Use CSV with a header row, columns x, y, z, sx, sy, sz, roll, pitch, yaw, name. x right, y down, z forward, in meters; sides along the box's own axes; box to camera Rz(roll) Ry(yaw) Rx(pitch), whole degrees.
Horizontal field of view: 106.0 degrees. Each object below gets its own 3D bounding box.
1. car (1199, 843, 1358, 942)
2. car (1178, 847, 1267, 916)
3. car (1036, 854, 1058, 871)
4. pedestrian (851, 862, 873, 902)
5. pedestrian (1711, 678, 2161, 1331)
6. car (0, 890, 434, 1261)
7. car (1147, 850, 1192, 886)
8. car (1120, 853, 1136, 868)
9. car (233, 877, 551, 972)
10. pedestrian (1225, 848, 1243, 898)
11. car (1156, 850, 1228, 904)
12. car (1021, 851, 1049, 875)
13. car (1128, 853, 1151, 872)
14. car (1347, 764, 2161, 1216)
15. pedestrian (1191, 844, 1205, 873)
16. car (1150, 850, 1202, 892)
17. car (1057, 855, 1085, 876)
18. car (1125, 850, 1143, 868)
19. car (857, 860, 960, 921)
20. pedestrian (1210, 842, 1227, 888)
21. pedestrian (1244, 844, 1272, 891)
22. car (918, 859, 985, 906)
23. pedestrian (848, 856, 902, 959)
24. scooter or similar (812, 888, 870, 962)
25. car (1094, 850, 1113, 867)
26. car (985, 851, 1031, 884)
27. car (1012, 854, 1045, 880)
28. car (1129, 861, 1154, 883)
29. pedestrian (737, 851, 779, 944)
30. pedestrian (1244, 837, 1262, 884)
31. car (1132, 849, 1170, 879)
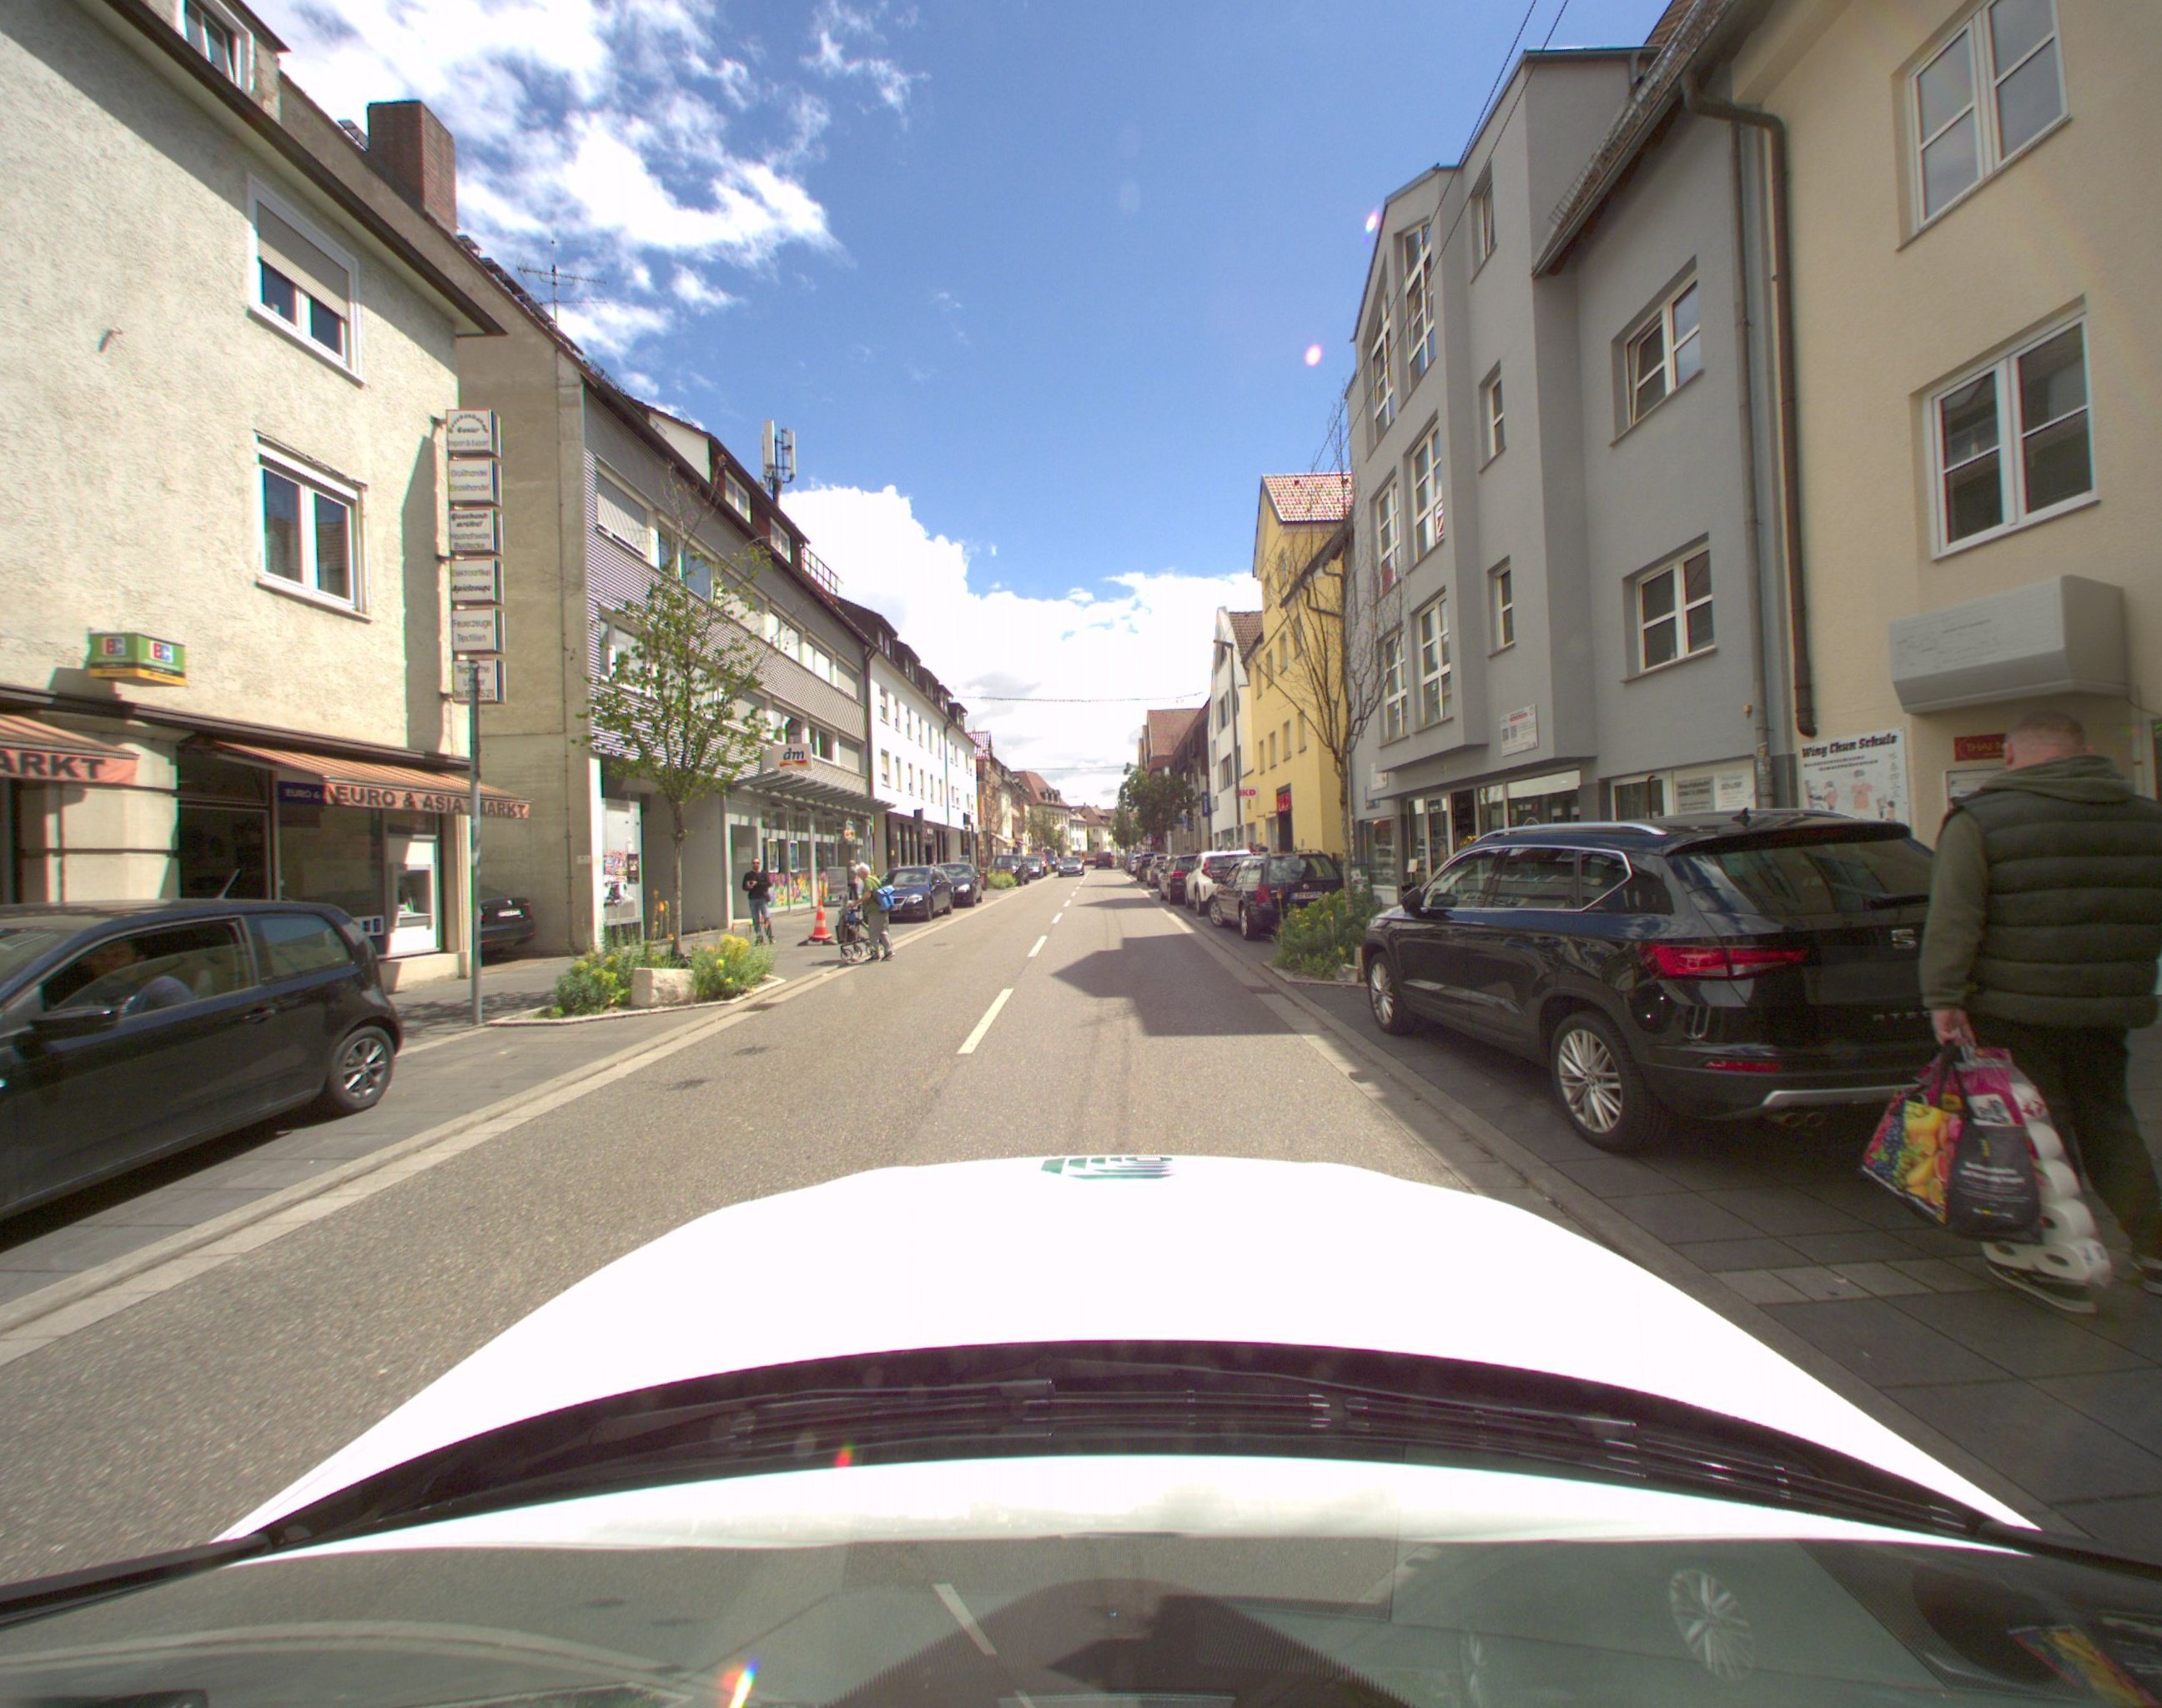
x,y,z,sx,sy,sz,roll,pitch,yaw,name
3.444,0.635,15.048,1.685,1.440,4.292,-4,-1,-2,car
3.517,0.667,20.791,1.683,1.574,3.757,0,-1,1,car
-3.236,0.806,79.070,1.792,1.598,4.390,-1,0,2,car
-8.073,1.017,30.013,0.651,1.455,0.563,0,-1,1,pedestrian
3.064,0.428,2.819,0.972,1.863,0.864,-4,-1,0,pedestrian
-5.348,0.969,4.128,1.595,1.446,3.548,0,-1,-7,car
3.843,0.625,35.961,1.714,1.476,4.357,0,-1,3,car
5.044,0.662,88.195,1.603,1.495,3.797,-5,0,3,car
-11.242,1.118,13.475,3.808,1.410,1.656,0,-1,0,car
5.721,0.704,30.474,0.585,1.841,0.576,0,-1,2,pedestrian
3.365,0.638,25.364,1.683,1.472,4.524,0,1,1,car
-3.698,0.734,66.599,1.809,1.889,4.843,0,-1,2,car
4.625,0.703,65.150,1.714,1.494,4.111,0,-1,3,car
3.321,0.509,5.193,1.793,1.603,4.203,-4,0,0,car
6.977,0.273,48.629,0.738,1.737,0.757,0,-1,2,pedestrian
3.539,0.633,31.059,1.624,1.476,4.960,0,-1,3,car
-0.720,0.885,61.911,1.898,1.563,4.647,0,-1,2,car
4.928,0.480,76.134,1.603,1.532,3.797,-3,0,3,car
-4.720,0.938,22.954,1.784,1.513,4.713,-1,0,1,car
5.483,0.432,32.487,0.585,1.841,0.576,0,-1,2,pedestrian
6.057,0.455,27.861,0.747,1.553,0.726,-2,-1,0,pedestrian
-4.462,0.936,28.630,1.785,1.503,4.175,0,0,-2,car
-3.324,0.850,13.177,0.729,1.618,0.650,0,-1,-4,pedestrian
-3.853,1.127,13.121,0.780,1.126,0.629,0,-1,-4,scooter or similar
2.573,0.532,91.604,2.032,1.848,5.003,0,-1,3,car
-4.040,0.747,45.519,1.808,1.755,4.674,0,-1,4,car
-3.747,0.939,58.597,1.809,1.755,4.467,0,-1,3,car
4.414,1.302,60.017,1.714,1.577,4.431,0,-1,3,car
-6.273,0.836,15.838,0.546,1.757,0.728,0,-1,-2,pedestrian
6.809,0.267,32.286,0.585,1.841,0.576,0,-1,2,pedestrian
3.845,0.576,45.297,1.716,1.577,4.106,0,-1,-1,car
